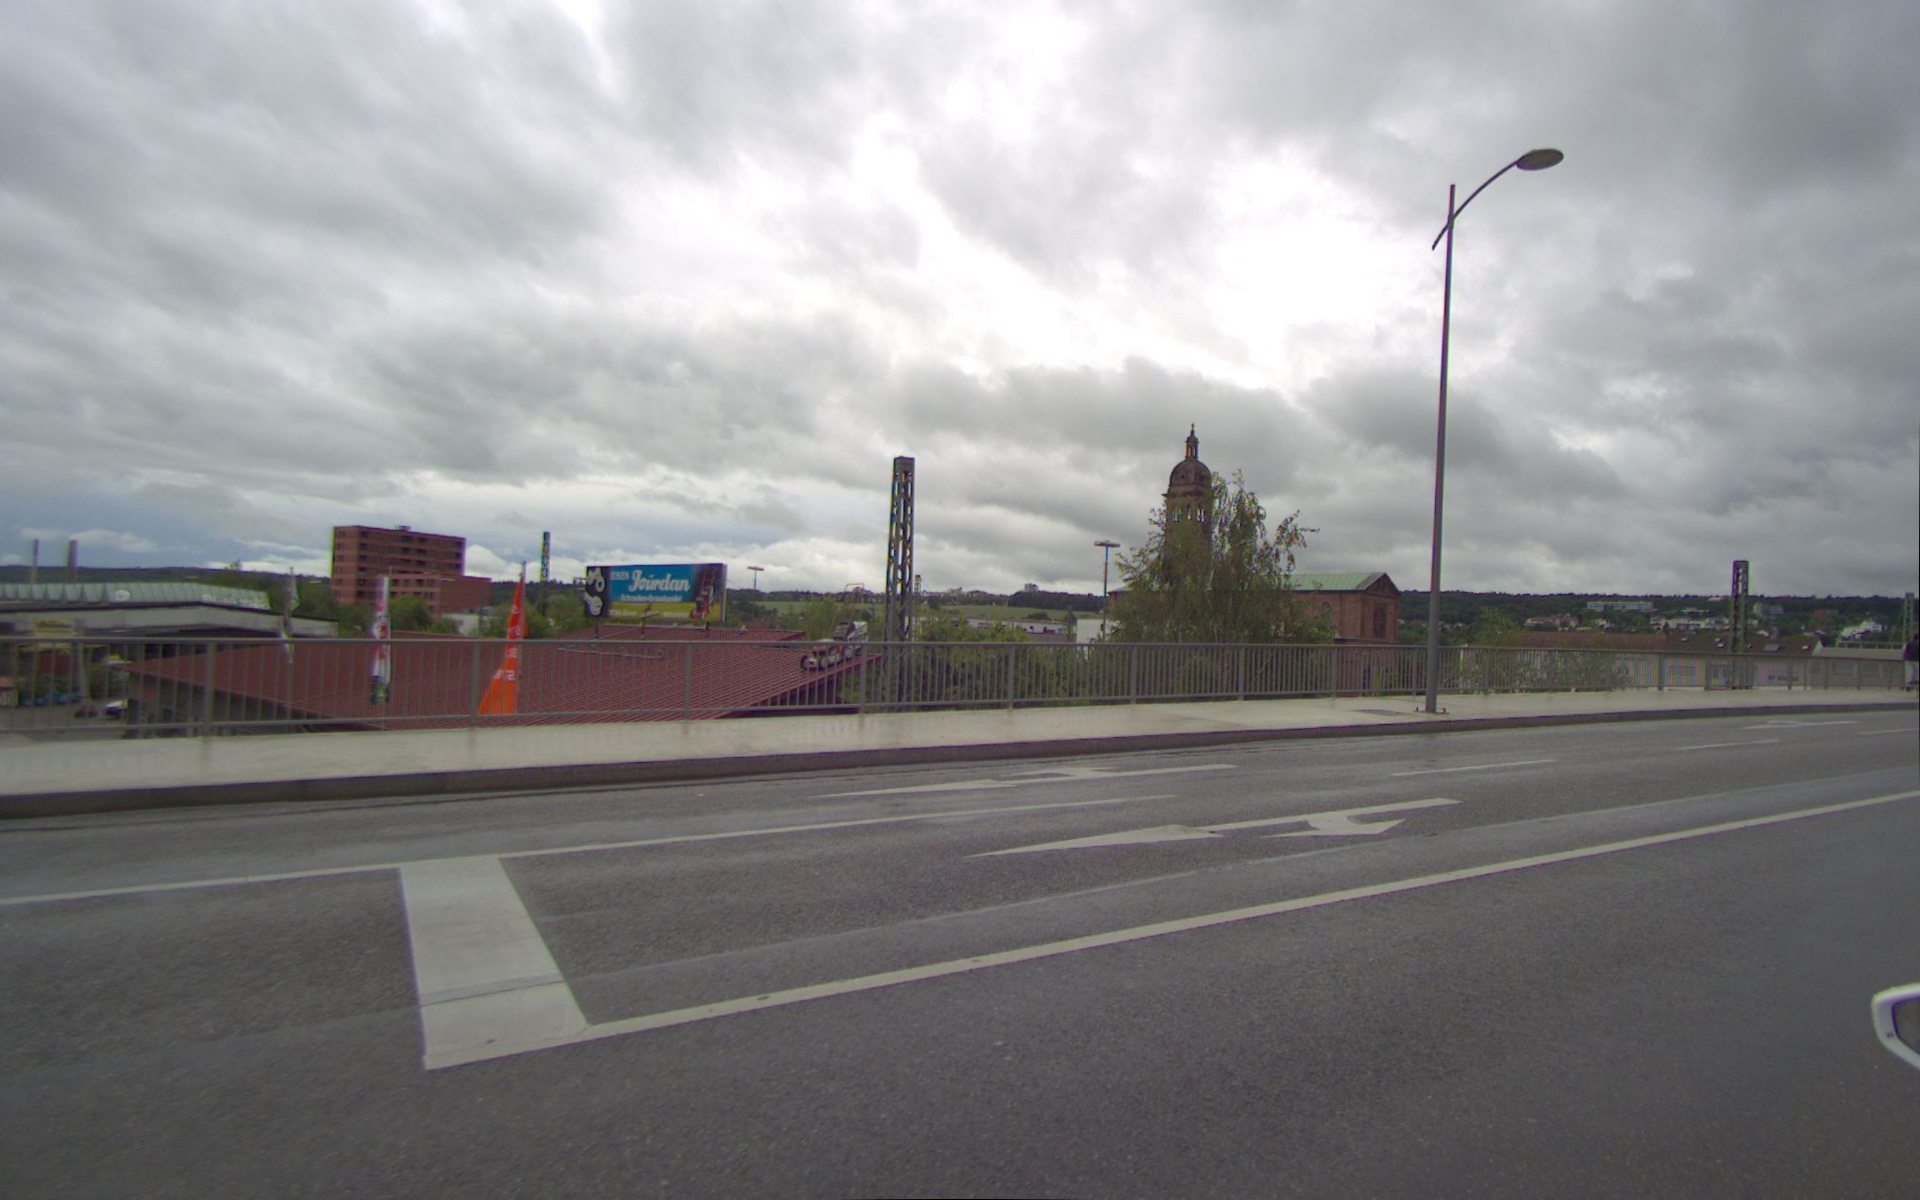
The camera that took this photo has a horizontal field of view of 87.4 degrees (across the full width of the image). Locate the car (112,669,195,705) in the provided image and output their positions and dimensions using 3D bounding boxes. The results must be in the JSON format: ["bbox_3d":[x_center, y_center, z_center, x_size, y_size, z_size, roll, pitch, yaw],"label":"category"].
[{"bbox_3d":[-53.829,5.808,67.080,1.973,2.038,3.979,0,-7,44],"label":"car"}]

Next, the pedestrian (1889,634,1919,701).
[{"bbox_3d":[30.797,2.191,32.571,0.882,2.073,0.753,8,-5,-30],"label":"pedestrian"}]
